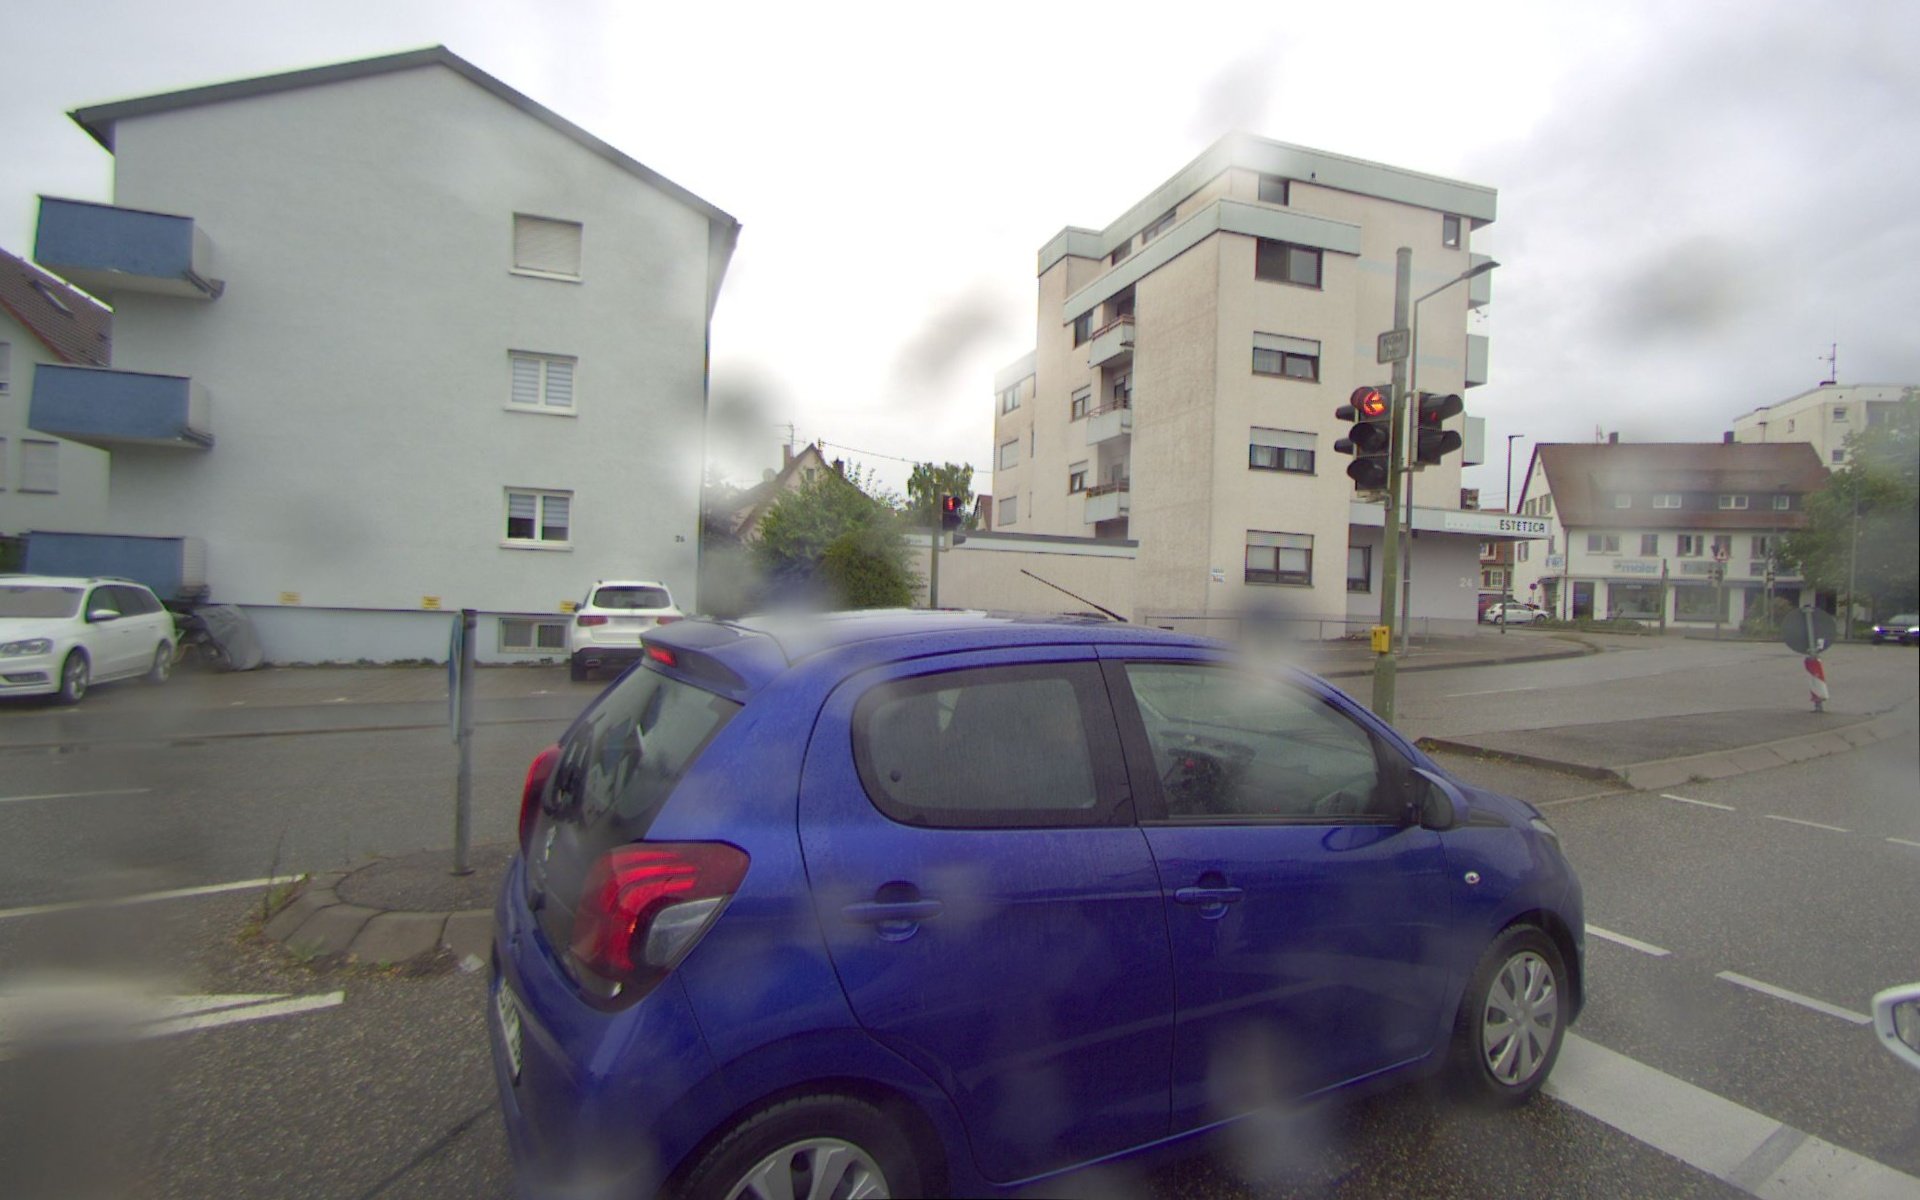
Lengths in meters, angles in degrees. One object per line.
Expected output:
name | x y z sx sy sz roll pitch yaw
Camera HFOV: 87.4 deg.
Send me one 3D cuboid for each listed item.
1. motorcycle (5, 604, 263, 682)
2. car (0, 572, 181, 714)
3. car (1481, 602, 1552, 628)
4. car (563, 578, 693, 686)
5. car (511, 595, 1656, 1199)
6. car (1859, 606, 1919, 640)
motorcycle | -13.118 0.641 16.078 0.864 1.115 3.113 2 1 43
car | -11.367 0.446 12.306 1.878 1.493 4.208 1 0 -24
car | 38.082 1.011 68.844 3.887 1.593 1.873 1 1 17
car | -5.902 0.503 17.829 1.909 1.658 4.446 1 0 -19
car | 0.447 0.739 3.119 3.231 1.429 1.571 1 1 -30
car | 42.319 1.036 45.156 3.785 1.439 1.770 1 0 -30
